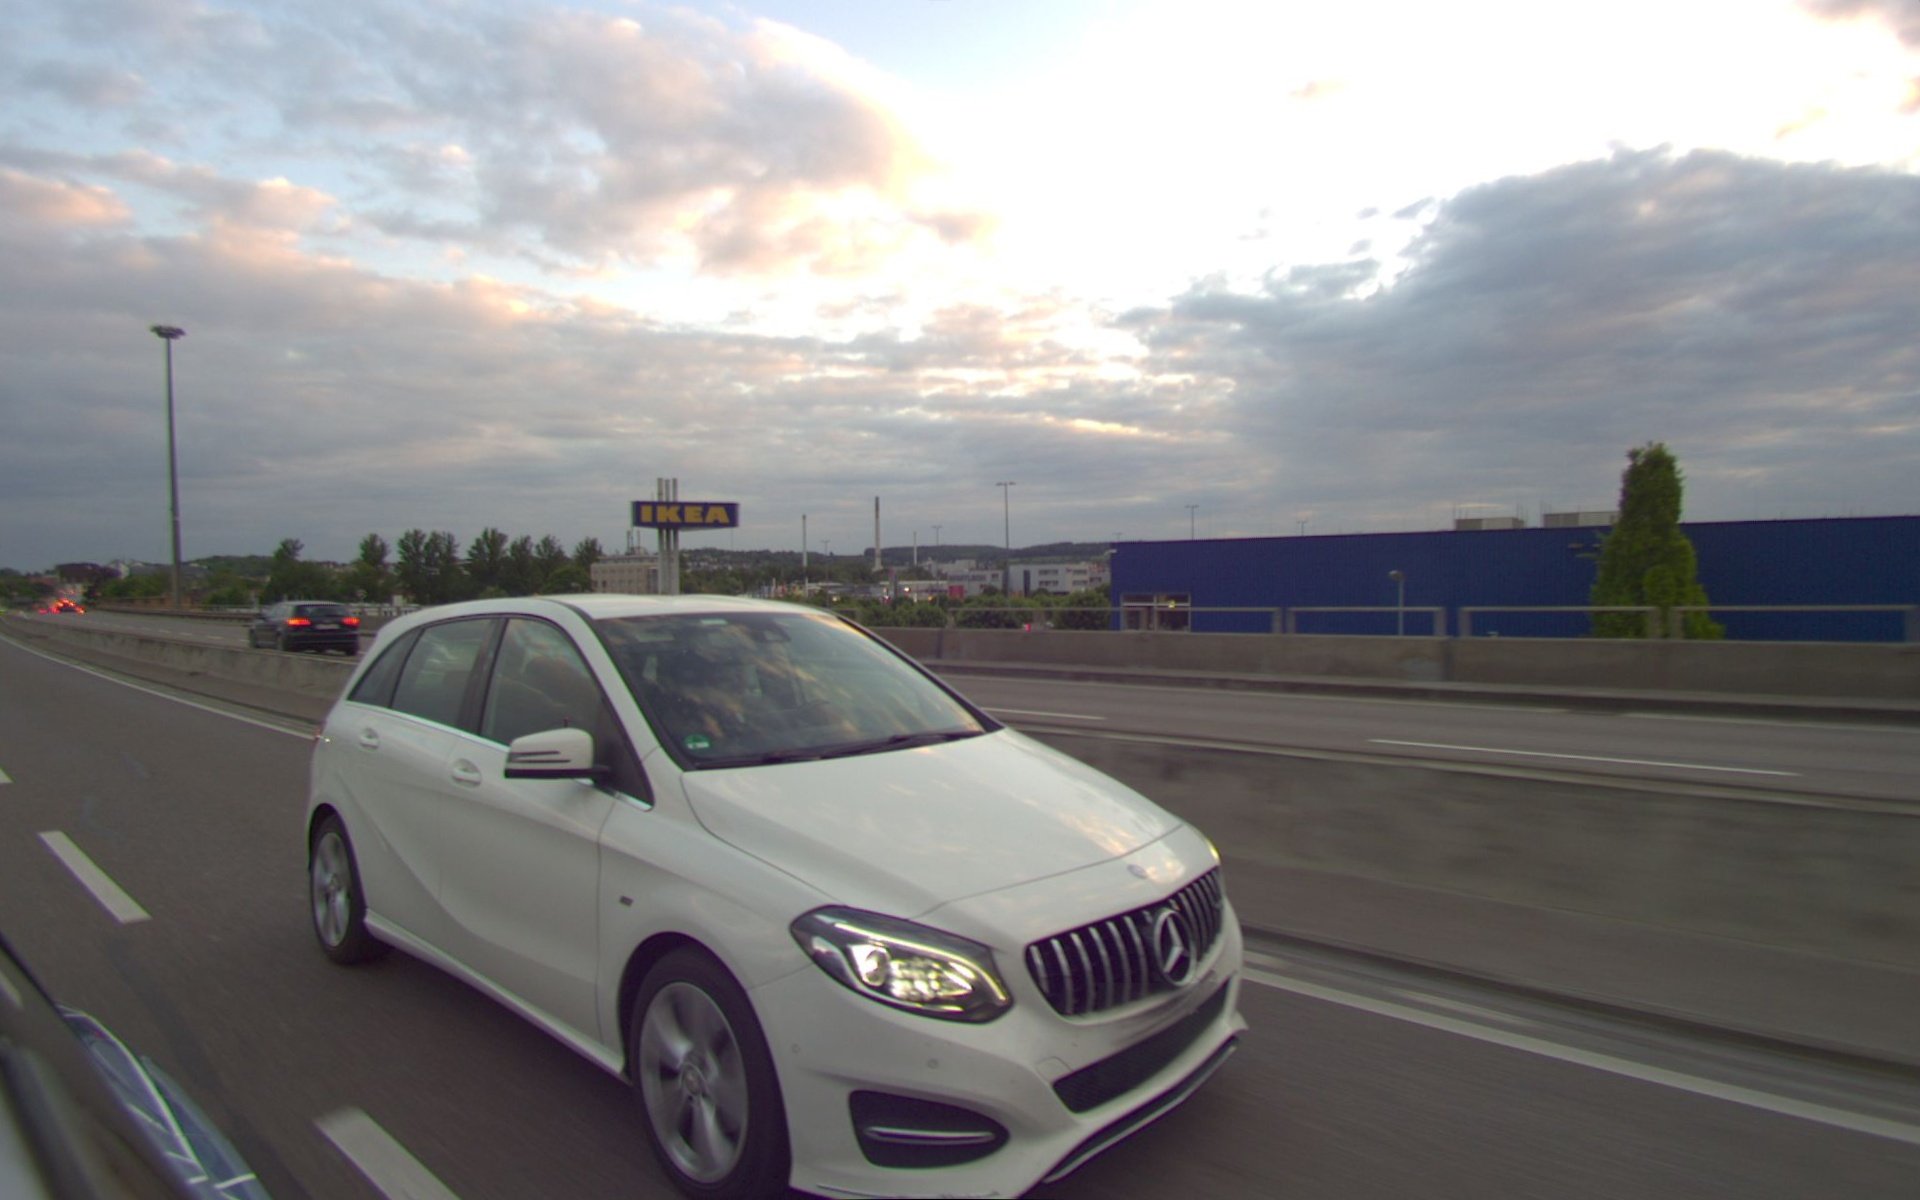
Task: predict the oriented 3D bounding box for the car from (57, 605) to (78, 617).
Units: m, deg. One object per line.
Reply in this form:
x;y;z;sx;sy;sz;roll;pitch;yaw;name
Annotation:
-121.248;1.457;137.491;1.953;1.618;4.445;-1;0;-44;car

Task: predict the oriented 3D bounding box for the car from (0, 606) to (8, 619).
-153.911;1.936;162.119;1.969;2.029;4.006;0;0;-41;car

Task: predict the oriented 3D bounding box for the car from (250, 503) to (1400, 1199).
-1.075;0.663;3.896;4.782;1.548;1.673;-2;-1;42;car

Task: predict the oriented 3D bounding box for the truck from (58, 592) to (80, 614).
-136.514;0.423;155.098;2.504;3.321;7.456;-1;0;-41;truck

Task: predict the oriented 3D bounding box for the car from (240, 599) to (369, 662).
-17.123;0.740;26.353;4.286;1.491;1.810;0;0;42;car
